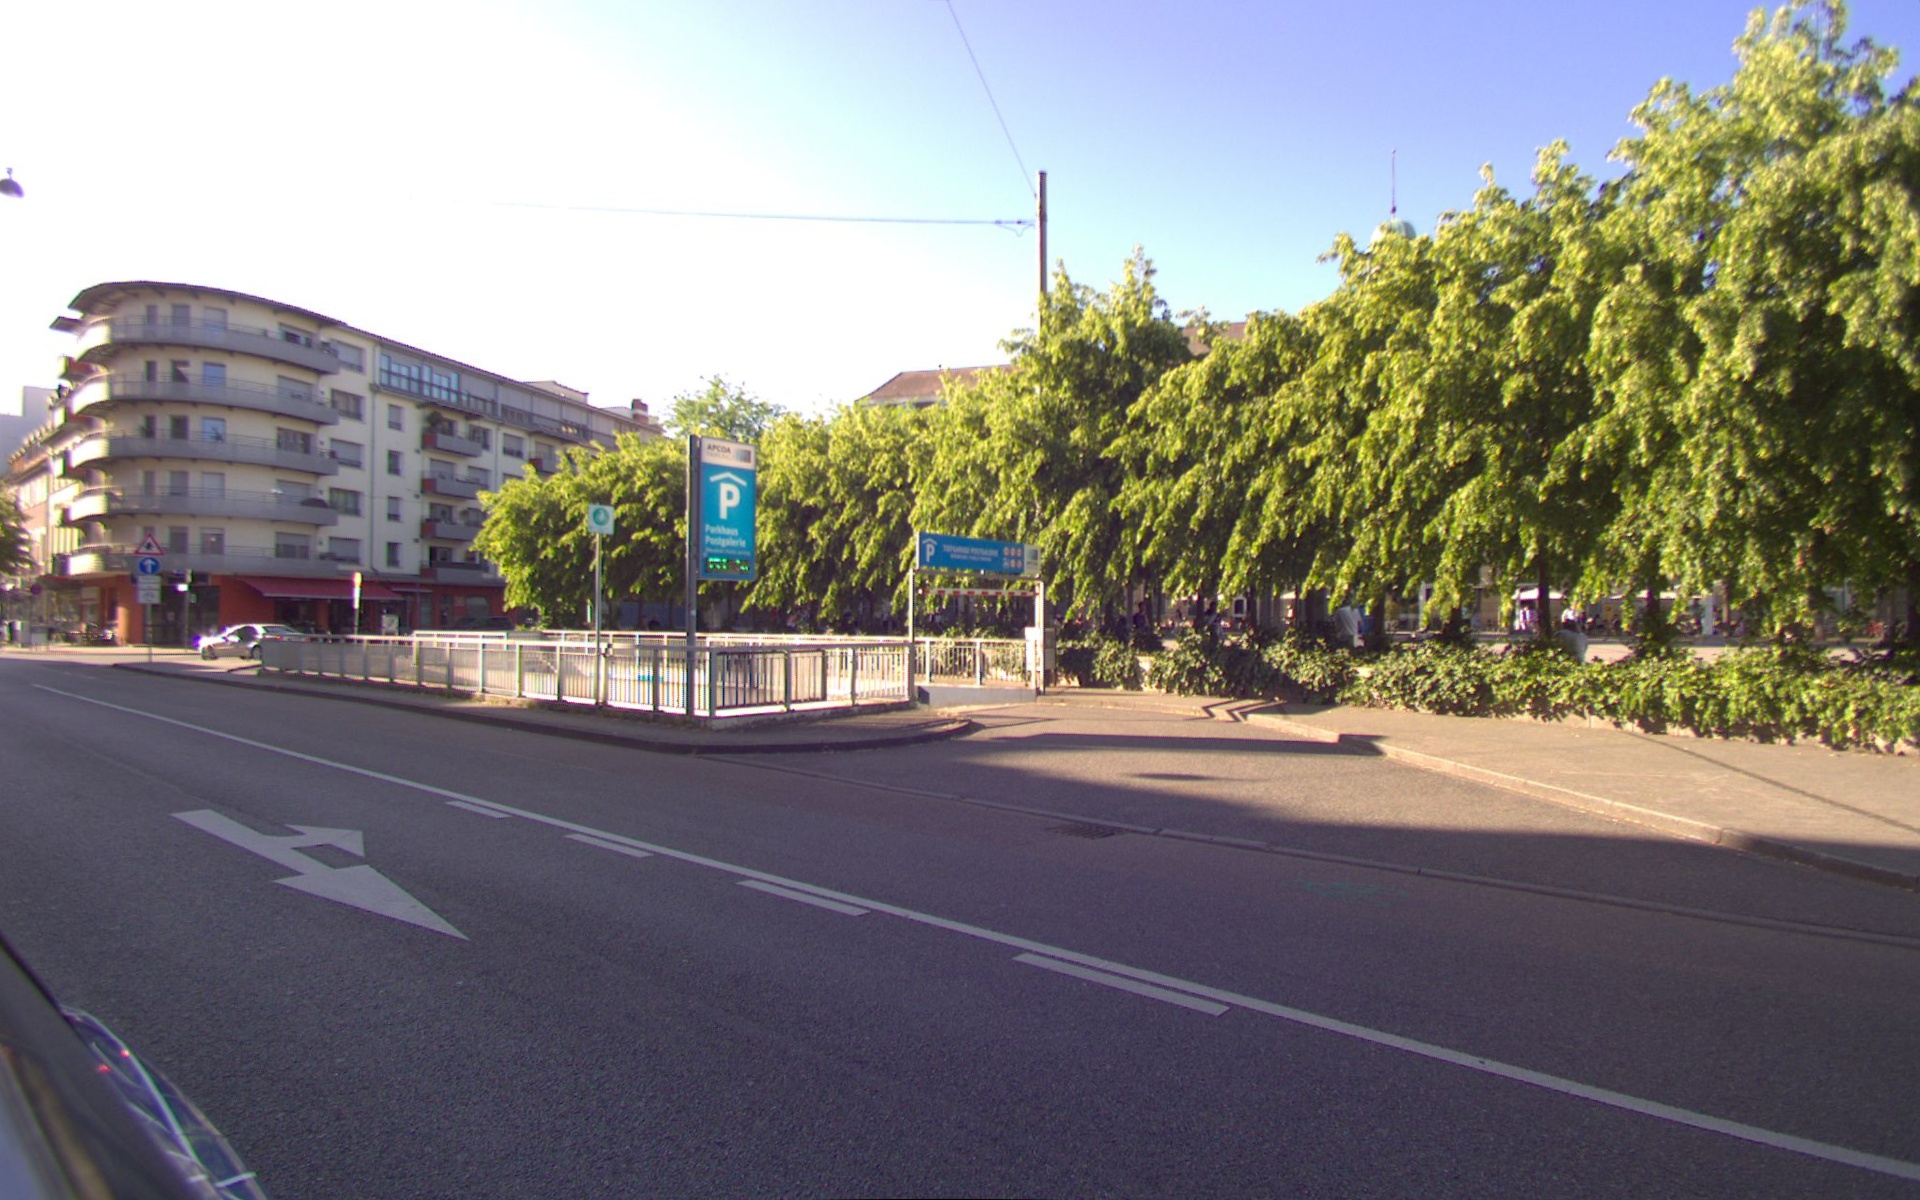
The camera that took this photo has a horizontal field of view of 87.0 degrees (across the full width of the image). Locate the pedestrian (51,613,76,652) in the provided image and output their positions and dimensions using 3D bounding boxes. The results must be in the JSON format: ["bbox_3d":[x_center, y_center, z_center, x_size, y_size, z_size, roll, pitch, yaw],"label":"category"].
[{"bbox_3d":[-46.579,1.675,52.600,0.888,2.029,0.850,-1,0,40],"label":"pedestrian"}]

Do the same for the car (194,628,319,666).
[{"bbox_3d":[-27.557,1.828,39.668,4.230,1.363,1.813,1,-2,19],"label":"car"}]

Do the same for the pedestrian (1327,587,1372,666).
[{"bbox_3d":[8.311,0.554,21.603,0.645,1.661,0.626,-1,0,-35],"label":"pedestrian"}]

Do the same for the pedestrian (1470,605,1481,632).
[{"bbox_3d":[28.860,1.048,56.681,0.537,1.512,0.547,-1,0,29],"label":"pedestrian"}]

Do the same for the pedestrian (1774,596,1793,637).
[{"bbox_3d":[39.951,0.782,49.100,0.676,1.963,0.632,-1,0,38],"label":"pedestrian"}]

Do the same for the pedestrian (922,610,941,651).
[{"bbox_3d":[-1.219,1.282,42.971,0.604,1.734,0.642,-1,0,21],"label":"pedestrian"}]

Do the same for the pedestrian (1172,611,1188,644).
[{"bbox_3d":[11.557,1.442,53.104,0.606,1.734,0.640,-1,0,31],"label":"pedestrian"}]

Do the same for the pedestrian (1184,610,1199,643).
[{"bbox_3d":[12.336,1.419,53.872,0.606,1.734,0.640,-1,0,31],"label":"pedestrian"}]

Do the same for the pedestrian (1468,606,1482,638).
[{"bbox_3d":[28.272,1.188,55.536,0.643,1.734,0.603,-1,0,26],"label":"pedestrian"}]

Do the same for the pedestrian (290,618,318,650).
[{"bbox_3d":[-33.745,1.763,52.062,0.877,1.607,0.861,-1,0,2],"label":"pedestrian"}]

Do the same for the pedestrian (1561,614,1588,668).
[{"bbox_3d":[19.963,1.318,32.890,0.643,1.734,0.604,-1,0,22],"label":"pedestrian"}]

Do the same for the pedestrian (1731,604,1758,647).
[{"bbox_3d":[31.871,1.039,41.123,0.640,1.734,0.606,-1,0,13],"label":"pedestrian"}]

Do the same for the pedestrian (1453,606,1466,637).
[{"bbox_3d":[28.133,1.217,56.993,0.643,1.734,0.603,-1,0,26],"label":"pedestrian"}]

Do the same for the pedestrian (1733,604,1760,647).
[{"bbox_3d":[31.851,1.039,40.990,0.641,1.734,0.605,-1,0,18],"label":"pedestrian"}]

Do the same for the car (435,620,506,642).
[{"bbox_3d":[-30.505,1.894,63.204,1.742,1.311,3.977,-1,-1,17],"label":"car"}]
